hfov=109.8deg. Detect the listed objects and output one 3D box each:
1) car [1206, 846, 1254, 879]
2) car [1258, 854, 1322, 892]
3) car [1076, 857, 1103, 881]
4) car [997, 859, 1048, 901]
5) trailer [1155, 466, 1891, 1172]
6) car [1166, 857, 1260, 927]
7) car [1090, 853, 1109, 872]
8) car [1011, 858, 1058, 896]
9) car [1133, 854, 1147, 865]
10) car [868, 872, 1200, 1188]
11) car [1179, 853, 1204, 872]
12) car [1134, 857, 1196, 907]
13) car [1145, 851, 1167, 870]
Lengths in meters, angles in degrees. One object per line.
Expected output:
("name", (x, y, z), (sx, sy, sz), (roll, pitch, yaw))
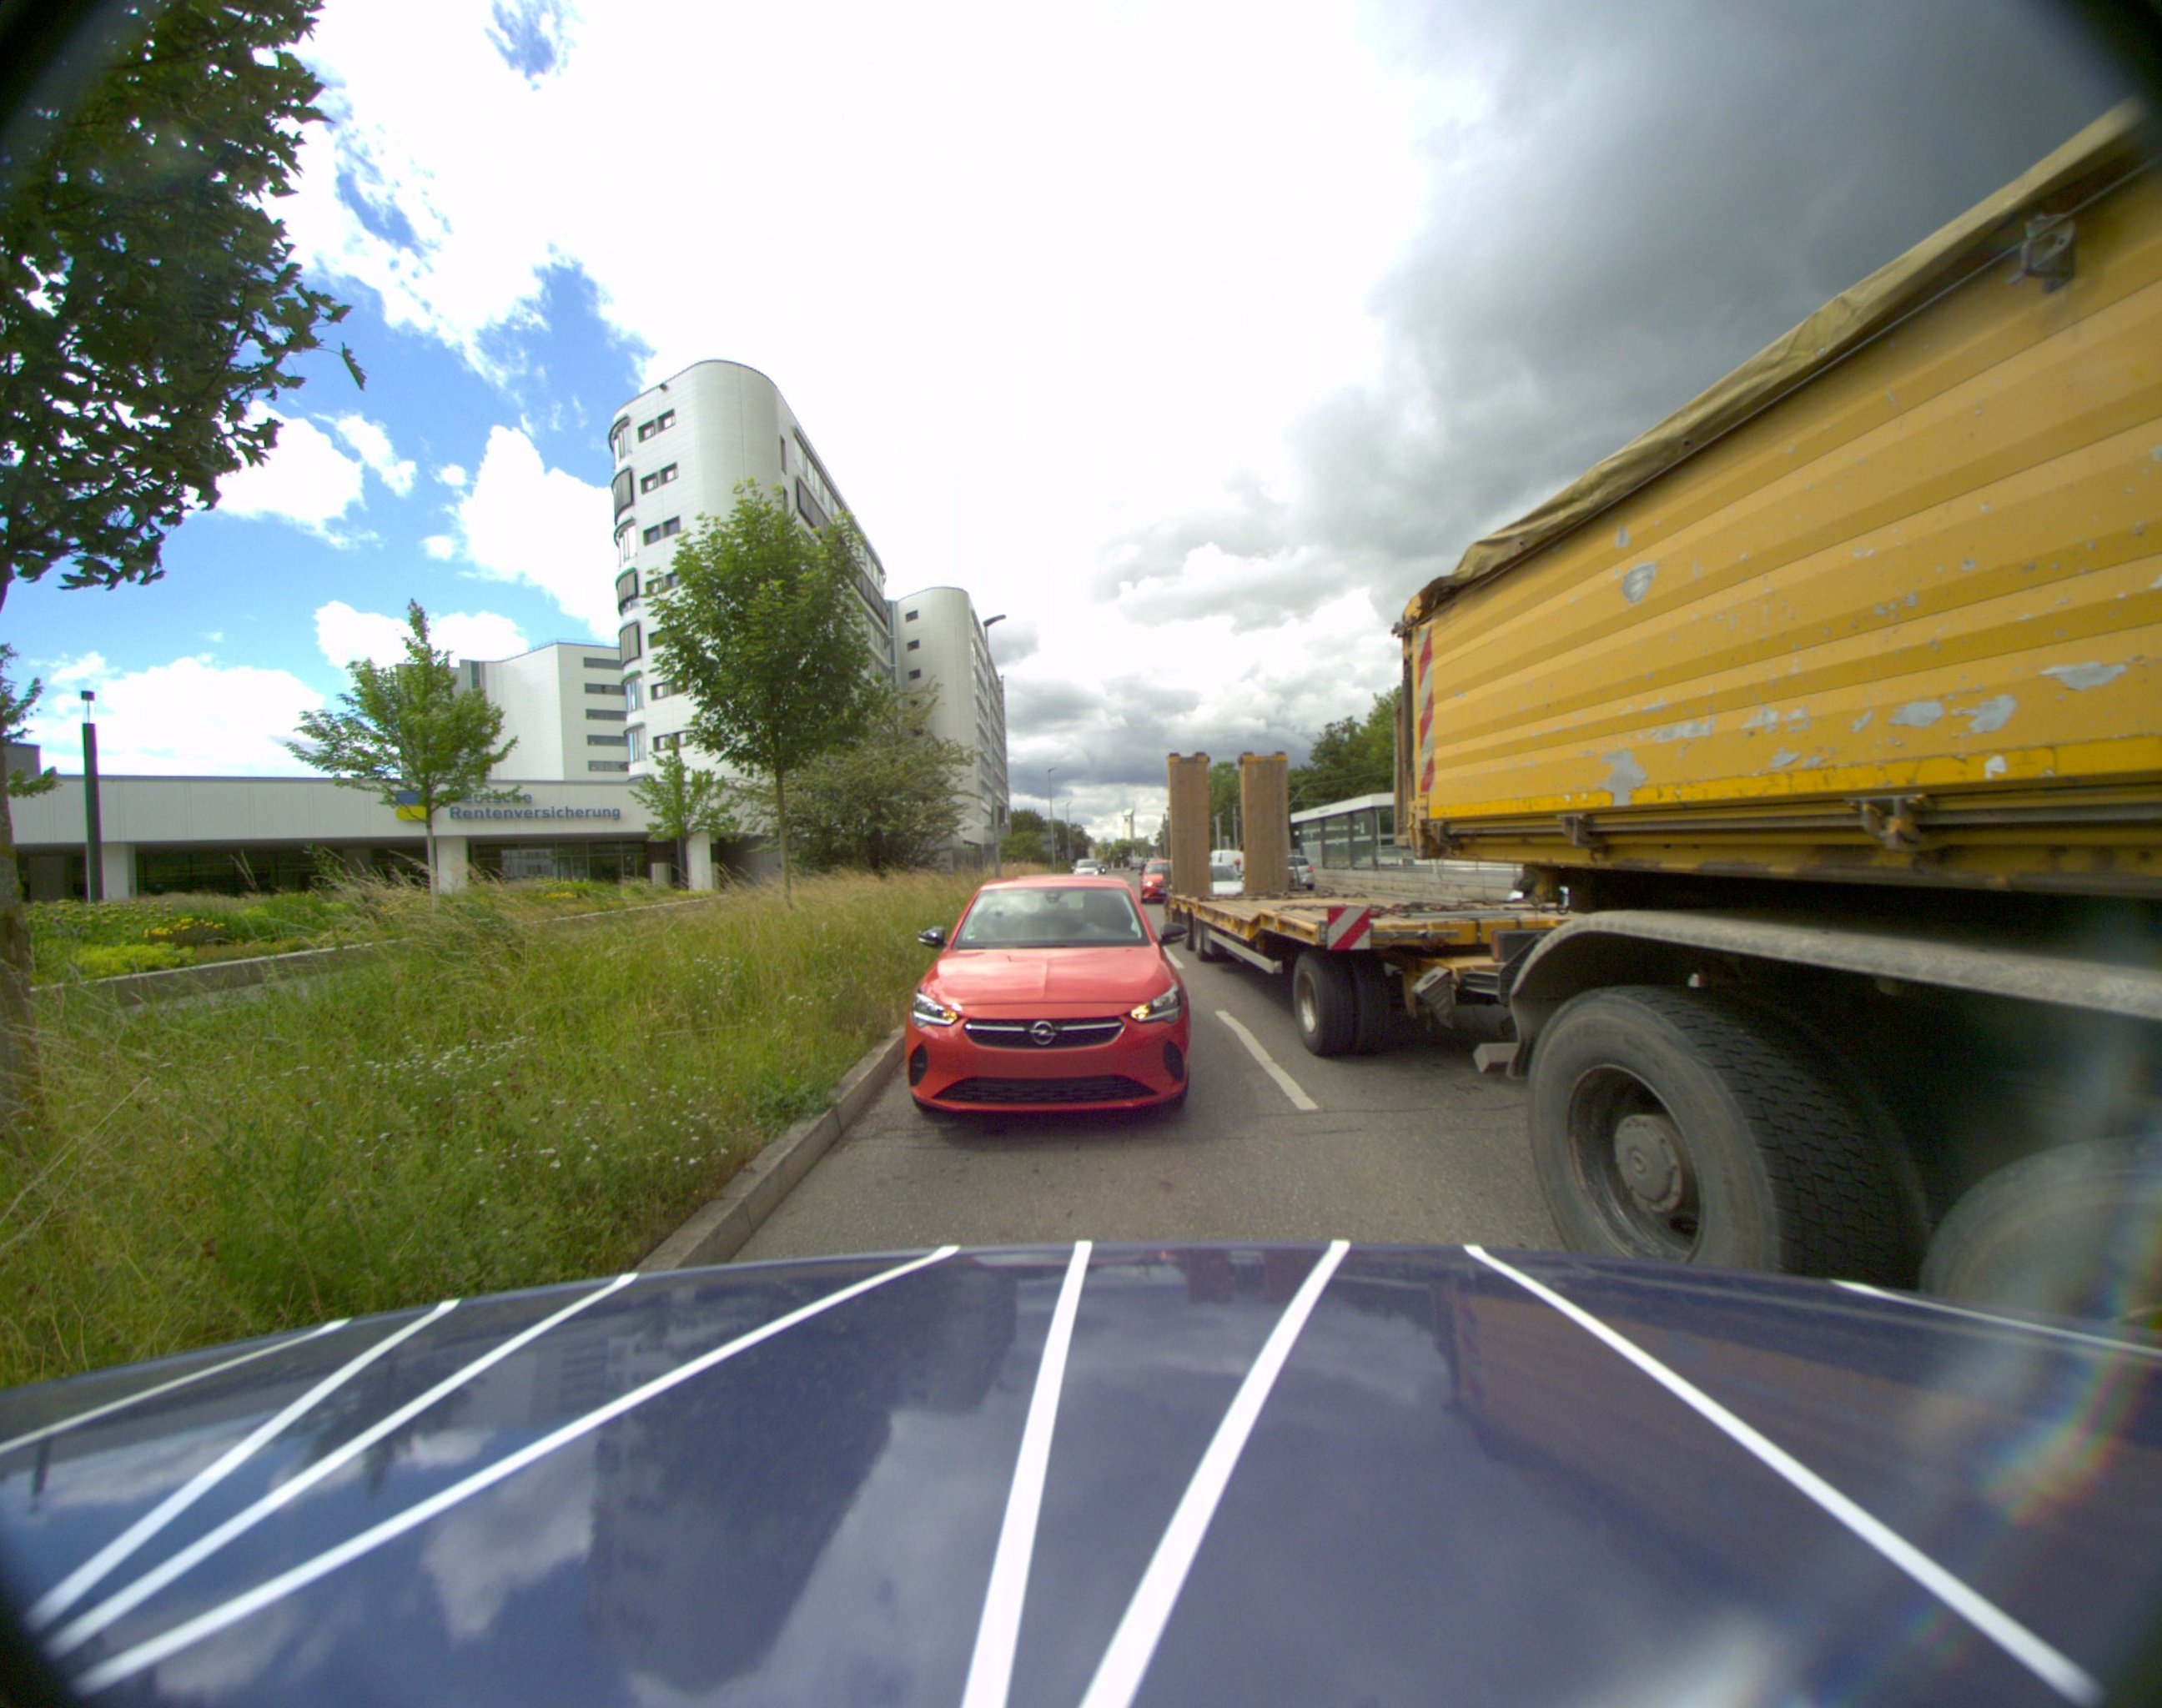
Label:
("car", (8.710, 0.497, 44.923), (1.887, 1.761, 4.864), (-2, 0, 1))
("car", (8.706, 0.746, 31.925), (1.705, 1.449, 3.566), (-2, 0, 1))
("car", (0.529, 1.005, 52.175), (1.738, 1.565, 3.445), (-2, 0, 0))
("car", (-2.312, 0.998, 30.661), (1.738, 1.565, 3.445), (-2, 0, 0))
("trailer", (2.792, -0.169, 9.335), (2.713, 3.501, 10.914), (-2, 0, 1))
("car", (3.226, 0.862, 19.240), (1.692, 1.471, 3.999), (-2, 1, 1))
("car", (1.971, 0.883, 83.167), (1.998, 2.002, 4.000), (-2, 0, 1))
("car", (-2.096, 1.003, 35.378), (1.850, 1.565, 4.623), (-2, 0, 0))
("car", (8.728, 0.802, 112.696), (1.770, 1.489, 3.554), (-2, 0, 1))
("car", (-0.220, 0.984, 6.009), (1.692, 1.471, 3.999), (-2, 1, 1))
("car", (9.274, 0.719, 64.032), (1.644, 1.489, 3.554), (-2, 0, 1))
("car", (2.820, 0.910, 26.167), (1.692, 1.471, 3.999), (-2, 1, 1))
("car", (8.150, 0.674, 82.880), (1.998, 2.002, 4.000), (-2, 0, 1))
